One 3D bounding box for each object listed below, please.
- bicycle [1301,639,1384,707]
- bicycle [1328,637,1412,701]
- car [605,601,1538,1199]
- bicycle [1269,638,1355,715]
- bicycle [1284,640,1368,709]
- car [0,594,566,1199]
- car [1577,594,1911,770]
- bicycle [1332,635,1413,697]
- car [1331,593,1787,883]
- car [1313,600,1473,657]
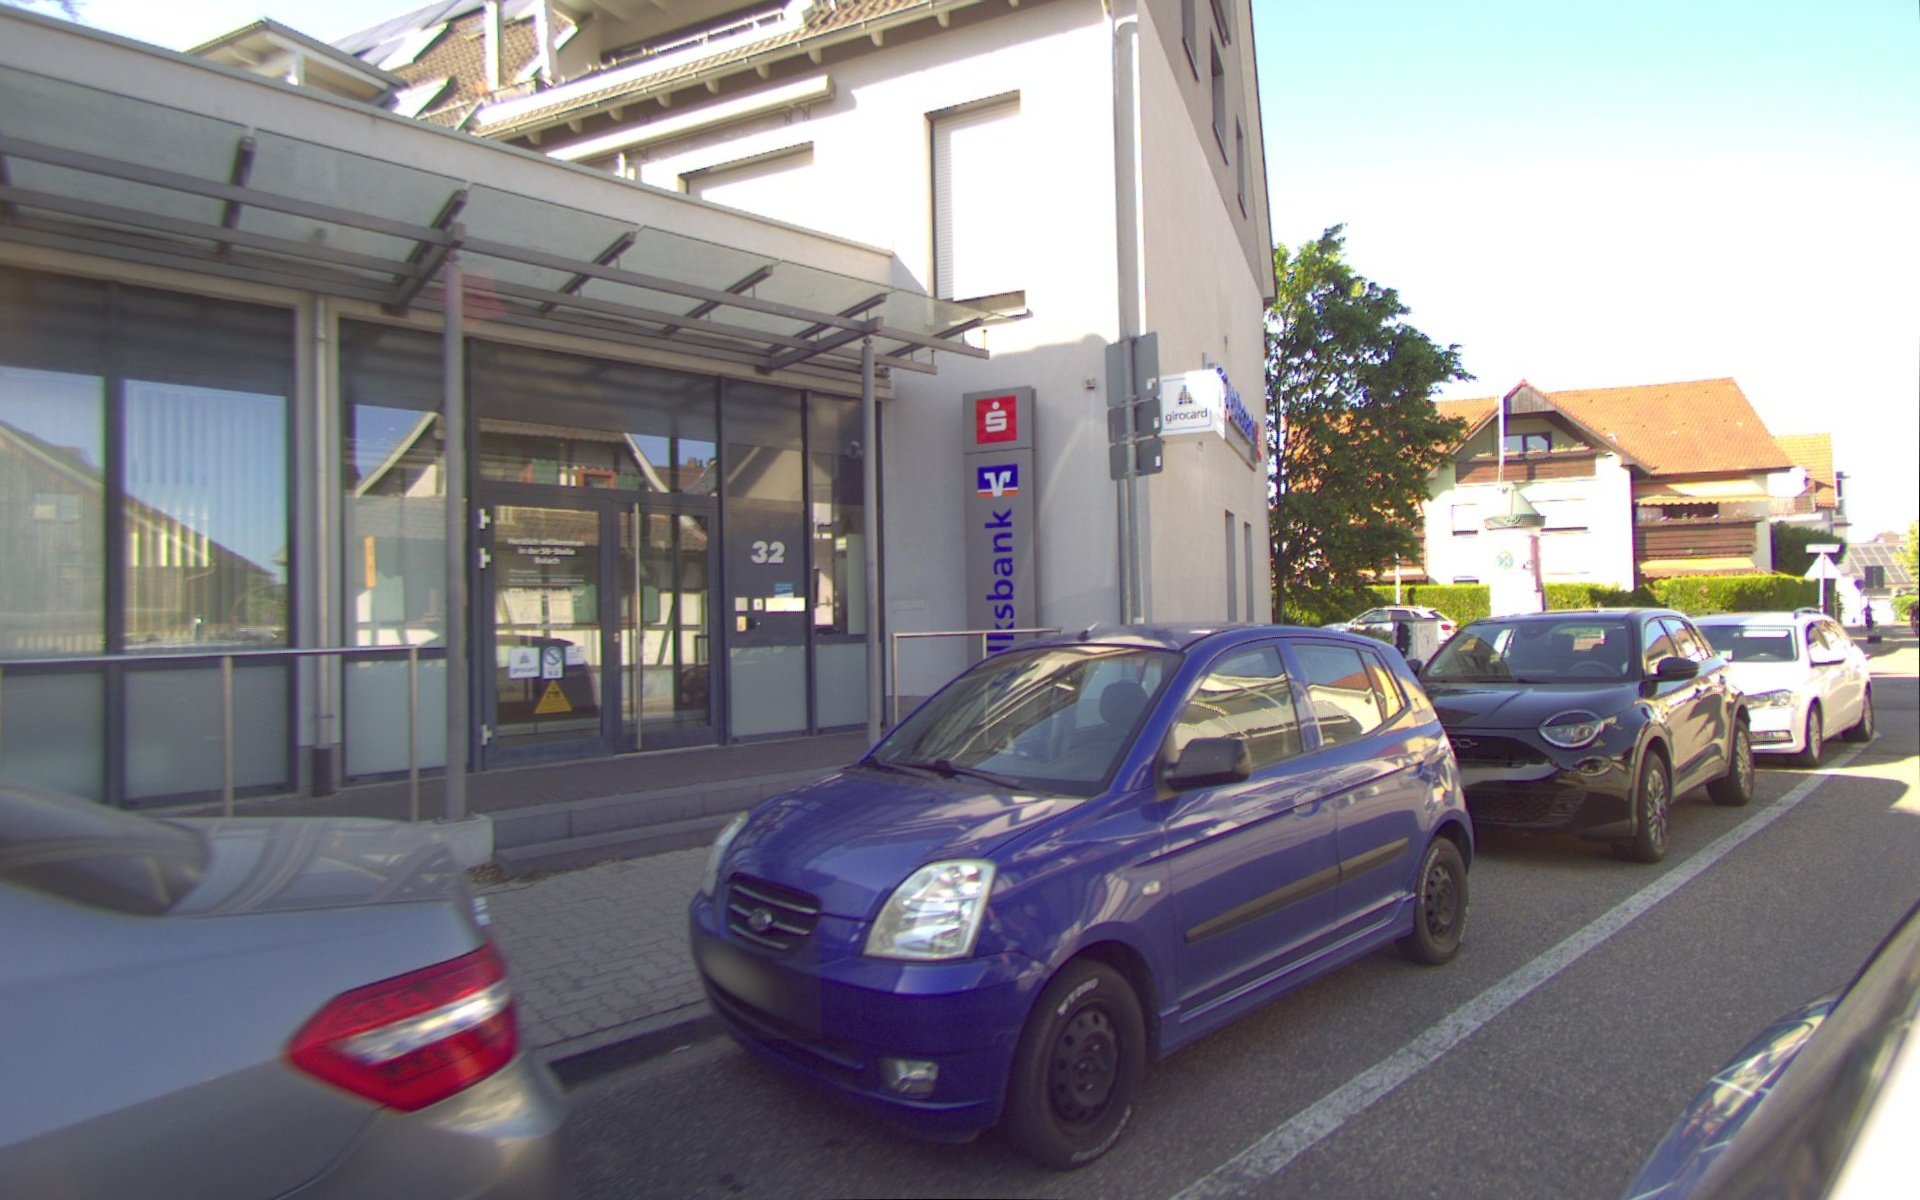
[{"bbox_3d":[5.588,1.051,14.835,0.307,0.932,1.167,0,-1,-33],"label":"bicycle"},{"bbox_3d":[6.282,1.039,15.545,0.308,0.932,1.163,1,-2,-43],"label":"bicycle"},{"bbox_3d":[0.722,0.803,4.243,3.807,1.494,1.727,0,-3,-41],"label":"car"},{"bbox_3d":[4.845,1.031,13.982,0.313,0.988,1.227,0,-1,-28],"label":"bicycle"},{"bbox_3d":[5.267,1.057,14.617,0.307,0.932,1.167,0,-1,-33],"label":"bicycle"},{"bbox_3d":[-2.847,0.792,0.839,4.366,1.494,1.810,0,-3,-41],"label":"car"},{"bbox_3d":[8.577,0.742,10.930,4.425,1.533,1.849,0,-2,-39],"label":"car"},{"bbox_3d":[6.580,1.038,16.162,0.308,0.932,1.163,1,-2,-43],"label":"bicycle"},{"bbox_3d":[4.467,0.773,7.307,3.902,1.541,1.612,0,-3,-41],"label":"car"},{"bbox_3d":[13.385,0.860,31.352,4.275,1.613,1.792,-1,0,35],"label":"car"}]
